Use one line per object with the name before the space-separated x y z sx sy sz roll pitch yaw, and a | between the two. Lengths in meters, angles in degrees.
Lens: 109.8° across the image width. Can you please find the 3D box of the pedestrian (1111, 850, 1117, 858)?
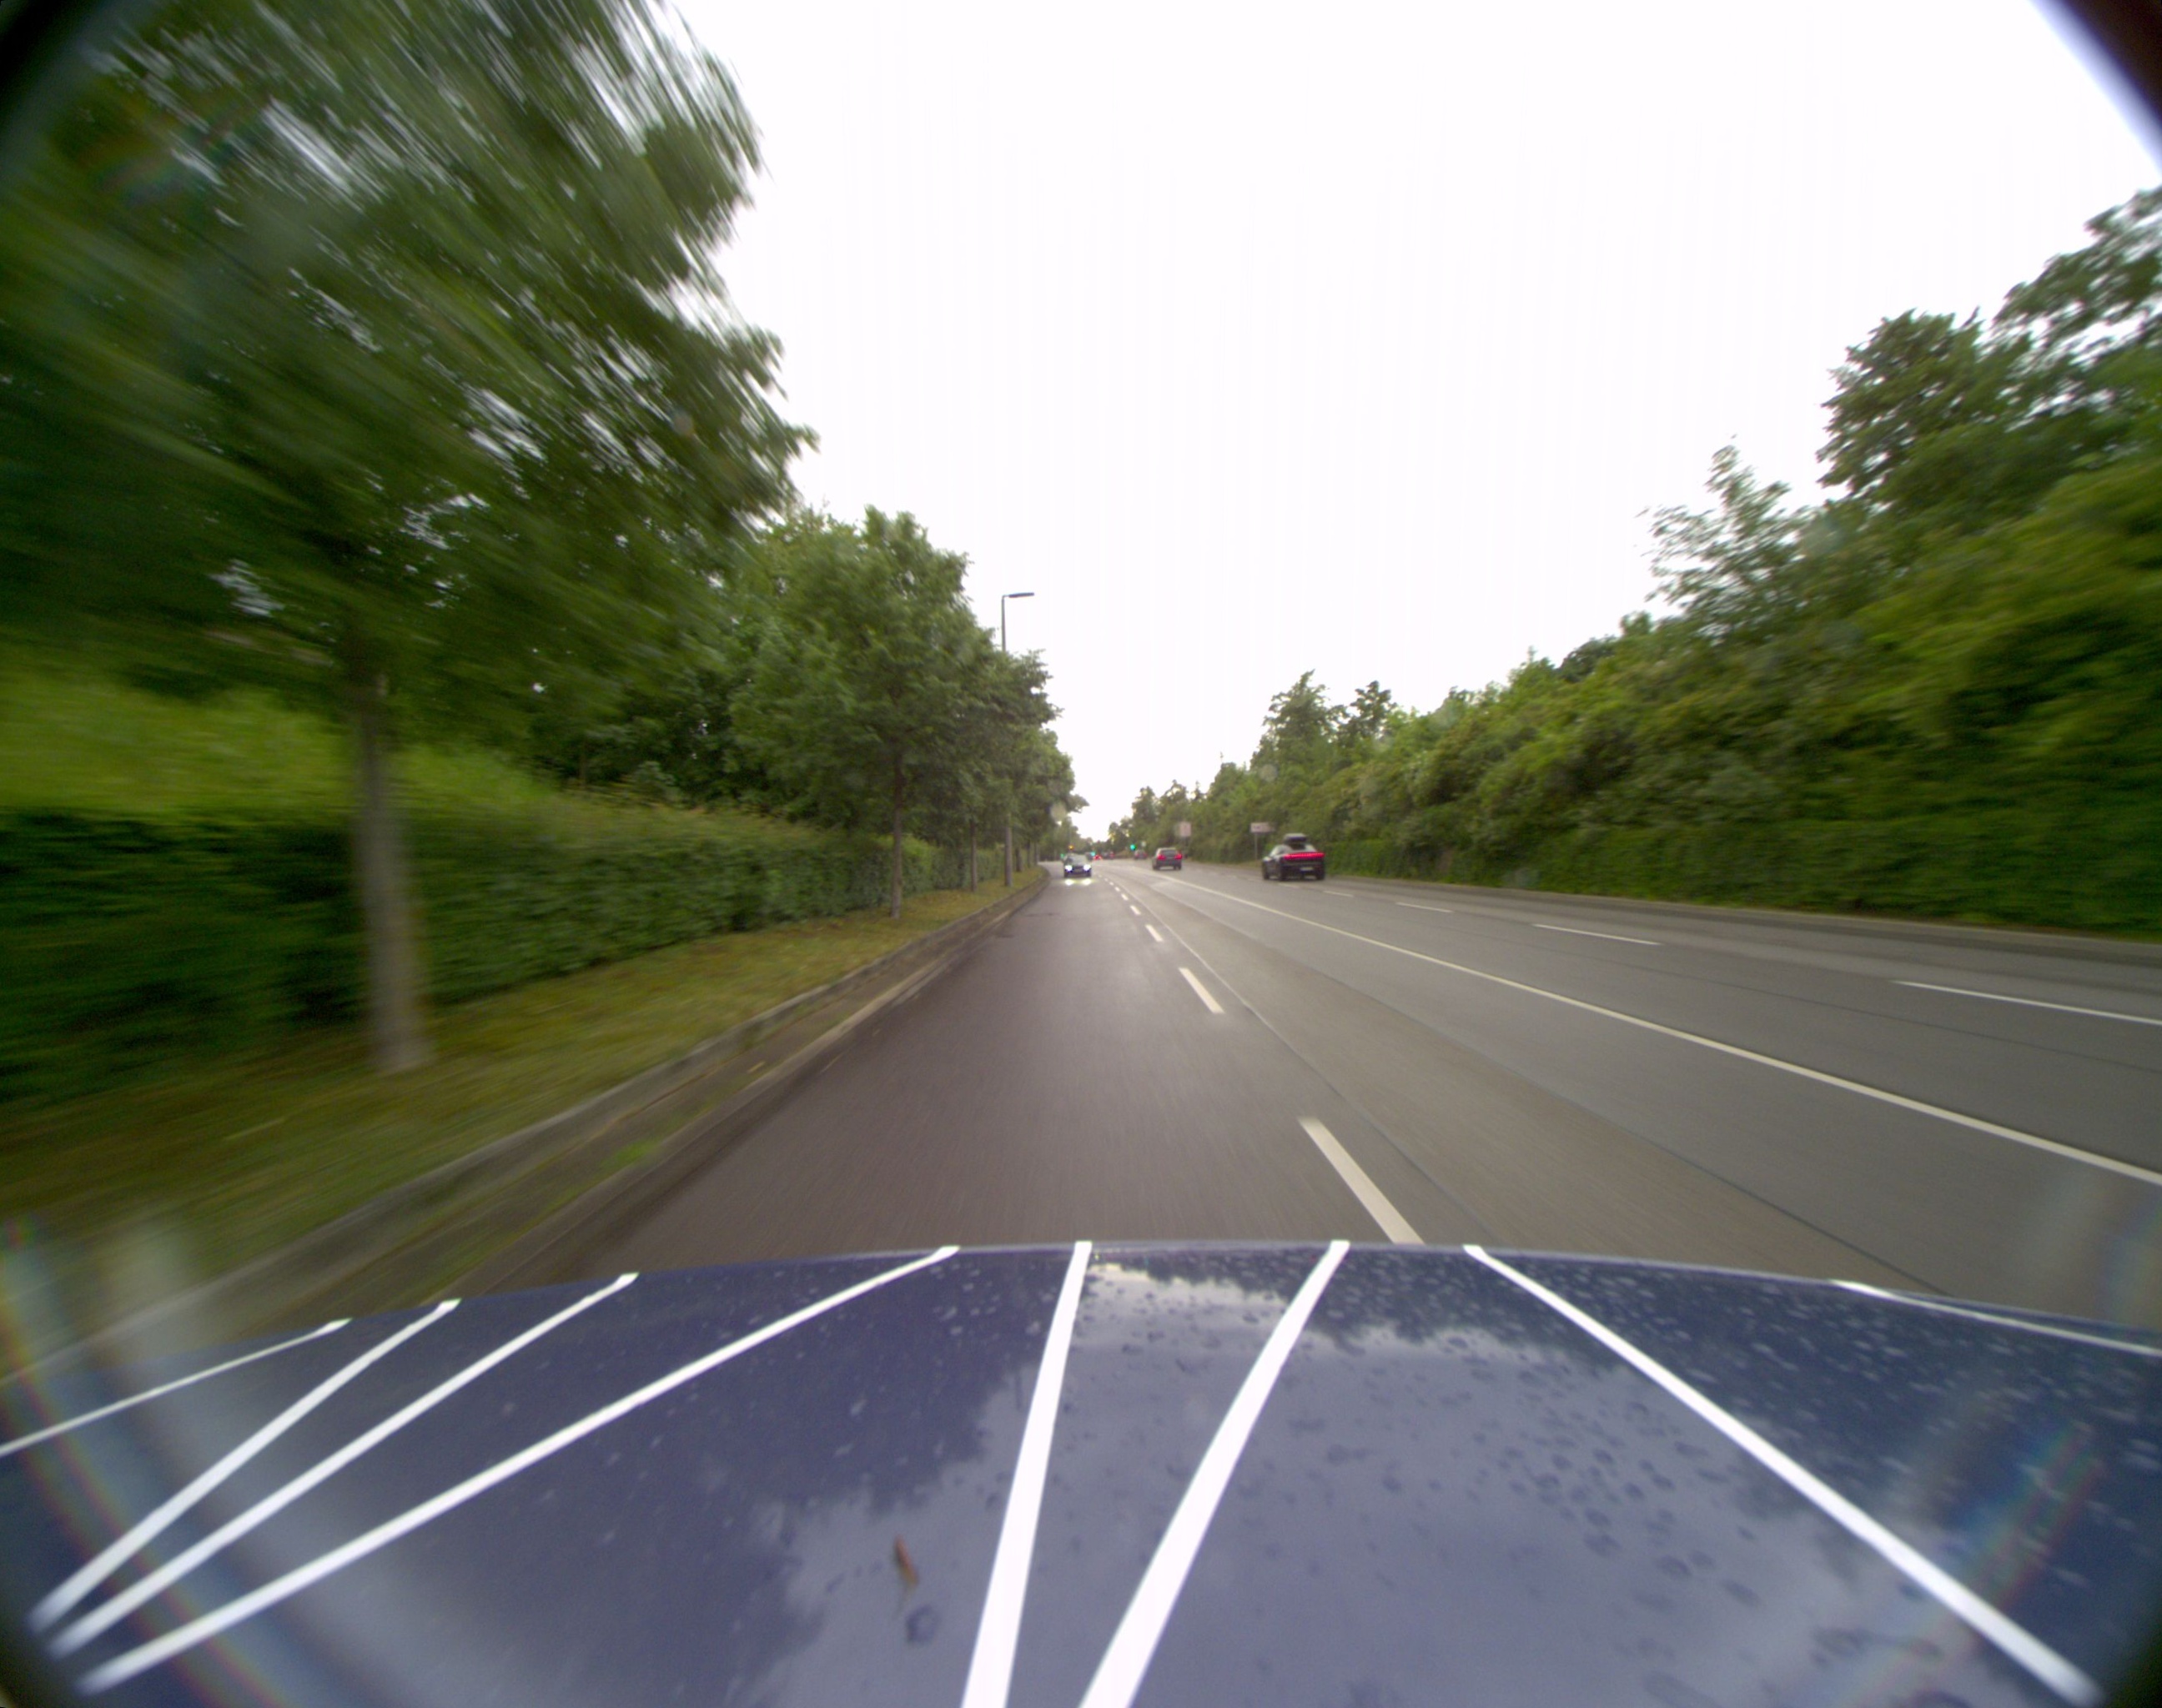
pedestrian | 5.512 -0.012 126.334 0.793 1.376 0.974 -3 1 0

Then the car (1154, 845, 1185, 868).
car | 6.843 0.188 59.186 1.817 1.648 4.595 -2 0 0

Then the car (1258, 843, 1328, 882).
car | 9.453 0.322 34.318 1.903 1.544 4.630 -3 1 1

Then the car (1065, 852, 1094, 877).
car | -0.153 0.662 51.479 1.738 1.577 4.285 -2 0 -2

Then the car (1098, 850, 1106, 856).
car | 5.067 -0.176 185.209 1.679 1.459 3.860 -3 1 -2

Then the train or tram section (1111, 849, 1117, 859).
train or tram section | 5.513 -0.012 126.338 0.793 1.561 2.383 -3 1 0

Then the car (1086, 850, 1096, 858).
car | 1.905 0.065 144.800 1.782 1.459 3.996 -2 0 -2

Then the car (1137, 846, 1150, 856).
car | 9.203 -0.412 112.522 1.552 1.429 3.695 -2 1 0

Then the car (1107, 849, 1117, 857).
car | 6.824 -0.211 167.173 1.805 1.597 4.427 -3 1 -2
